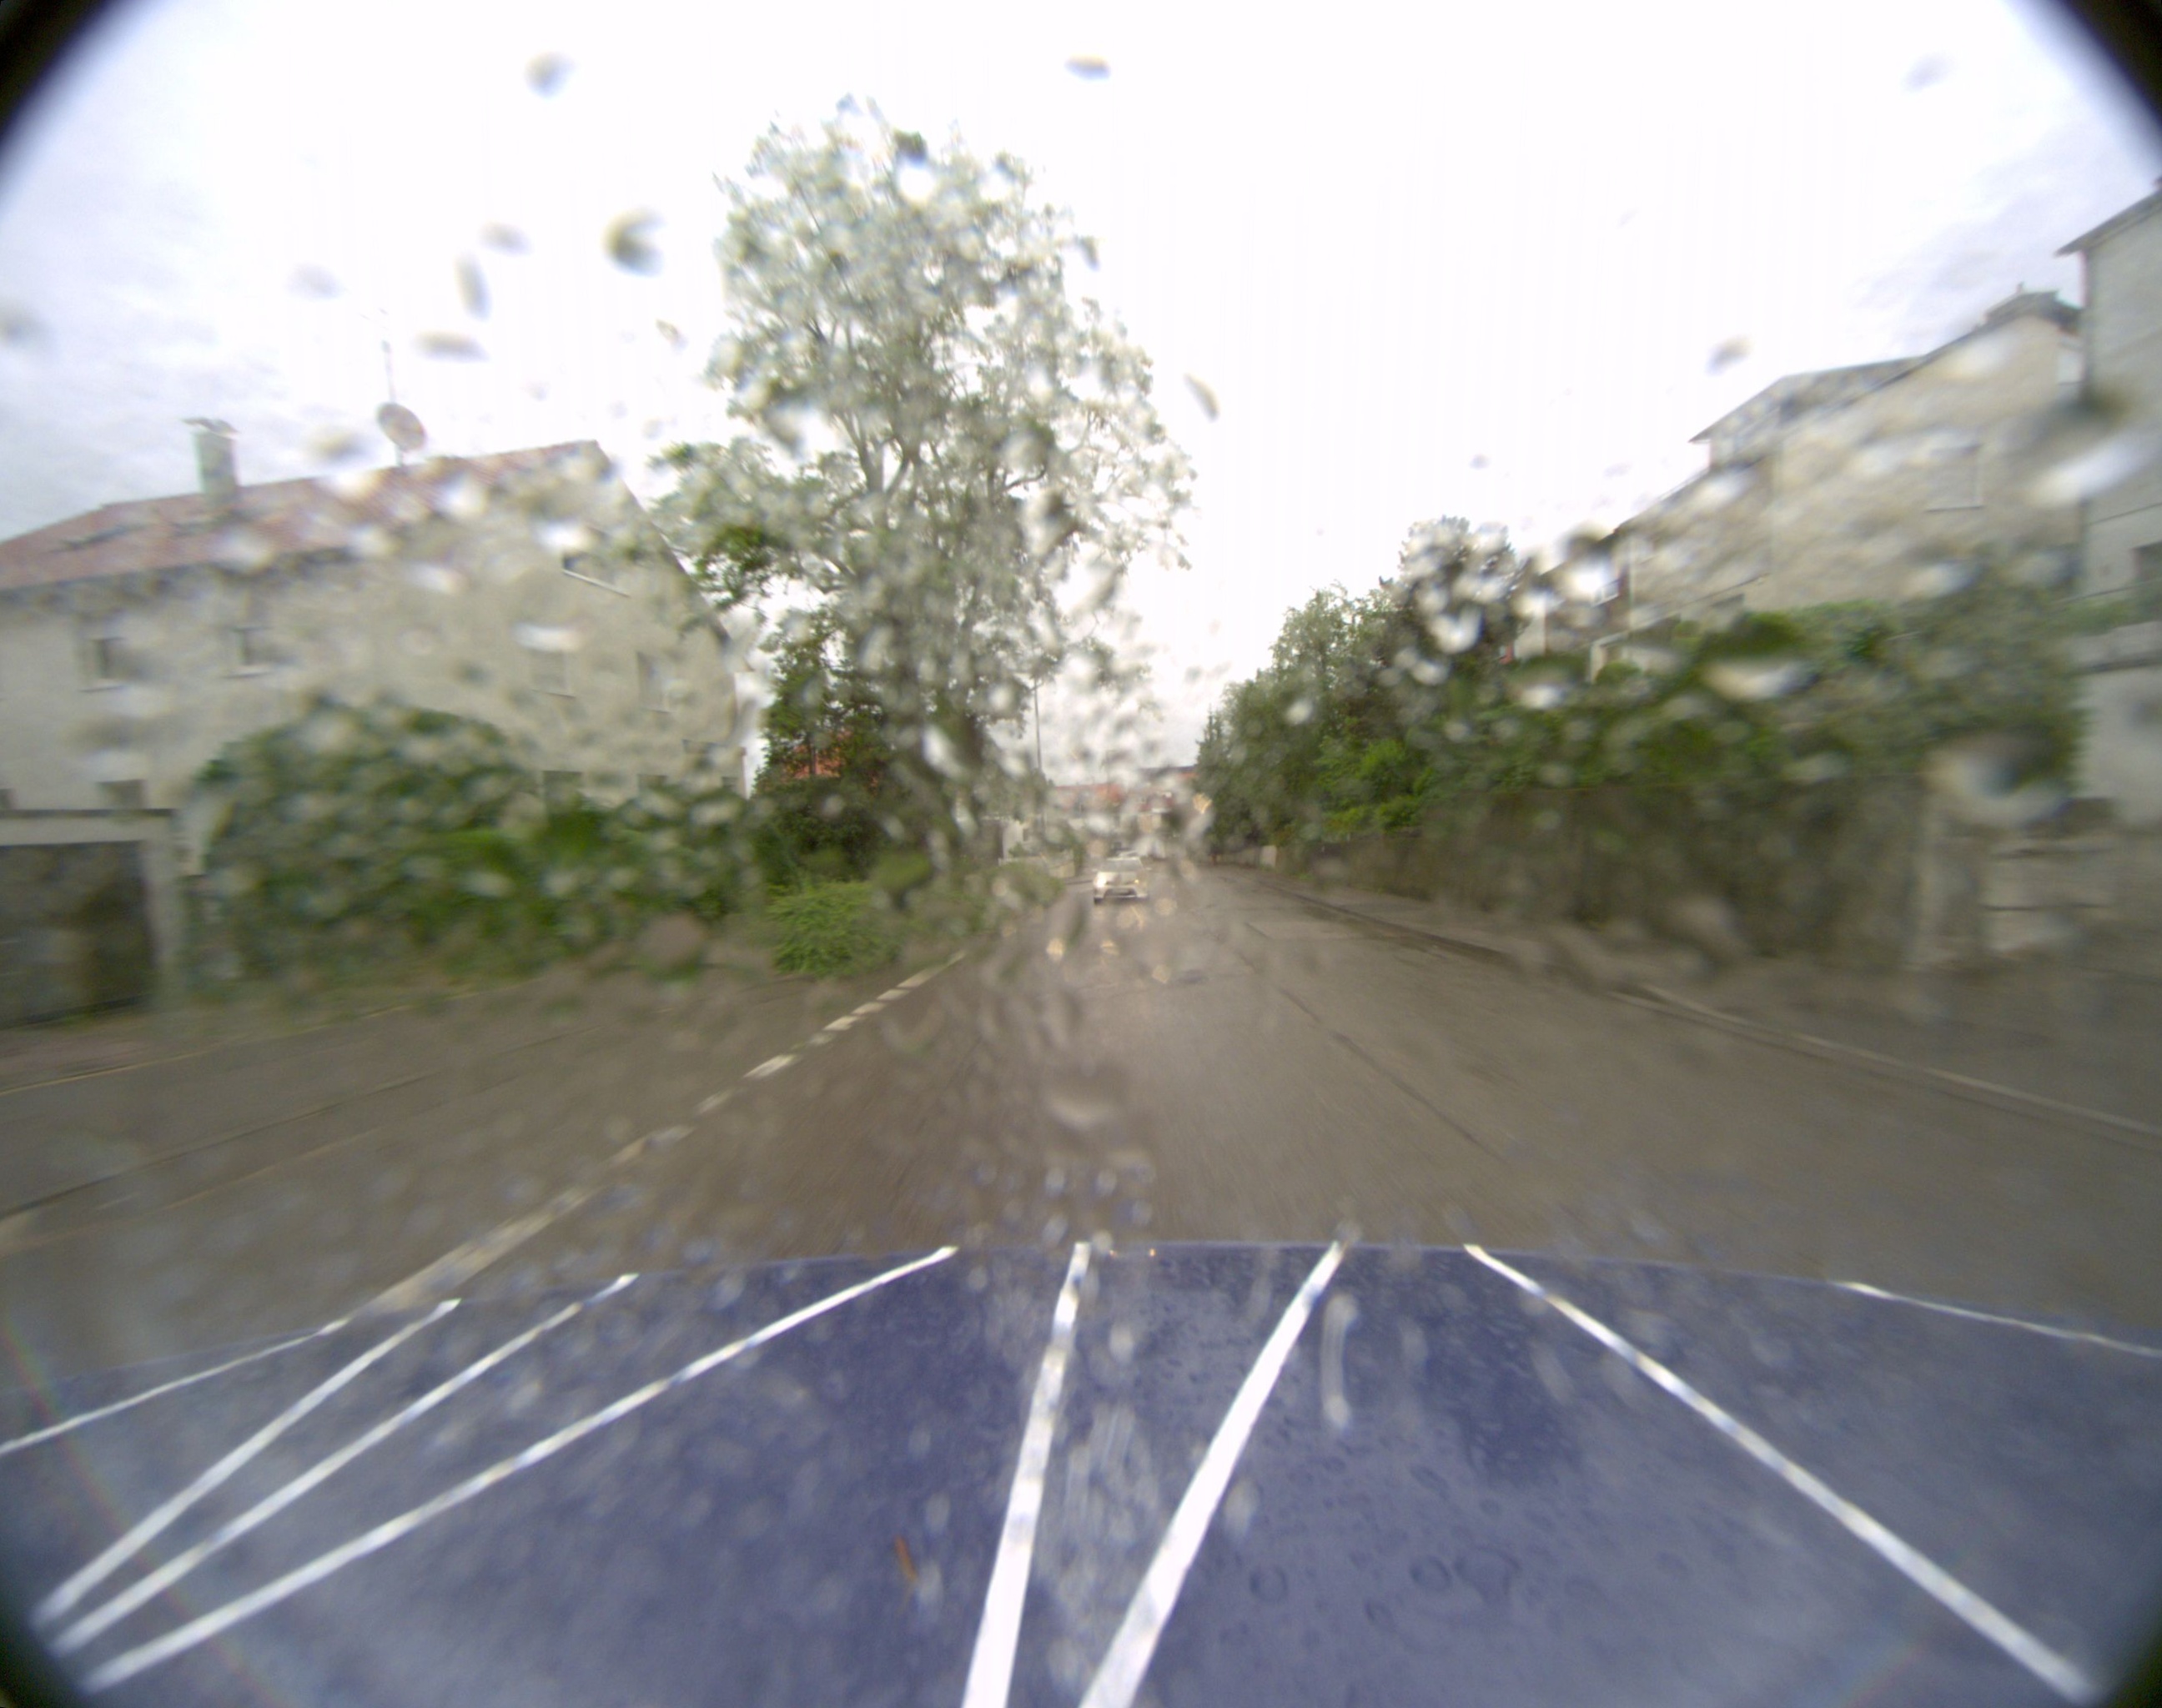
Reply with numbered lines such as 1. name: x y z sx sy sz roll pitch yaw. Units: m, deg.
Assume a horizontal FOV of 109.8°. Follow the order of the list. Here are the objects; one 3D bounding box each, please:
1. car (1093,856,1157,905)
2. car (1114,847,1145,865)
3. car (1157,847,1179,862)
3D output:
1. car: 1.555 0.818 25.472 1.862 1.369 4.182 -3 0 6
2. car: 5.322 0.208 83.774 2.115 1.863 4.176 -3 0 -15
3. car: 9.423 0.026 82.703 1.760 1.491 3.992 -3 0 -2
